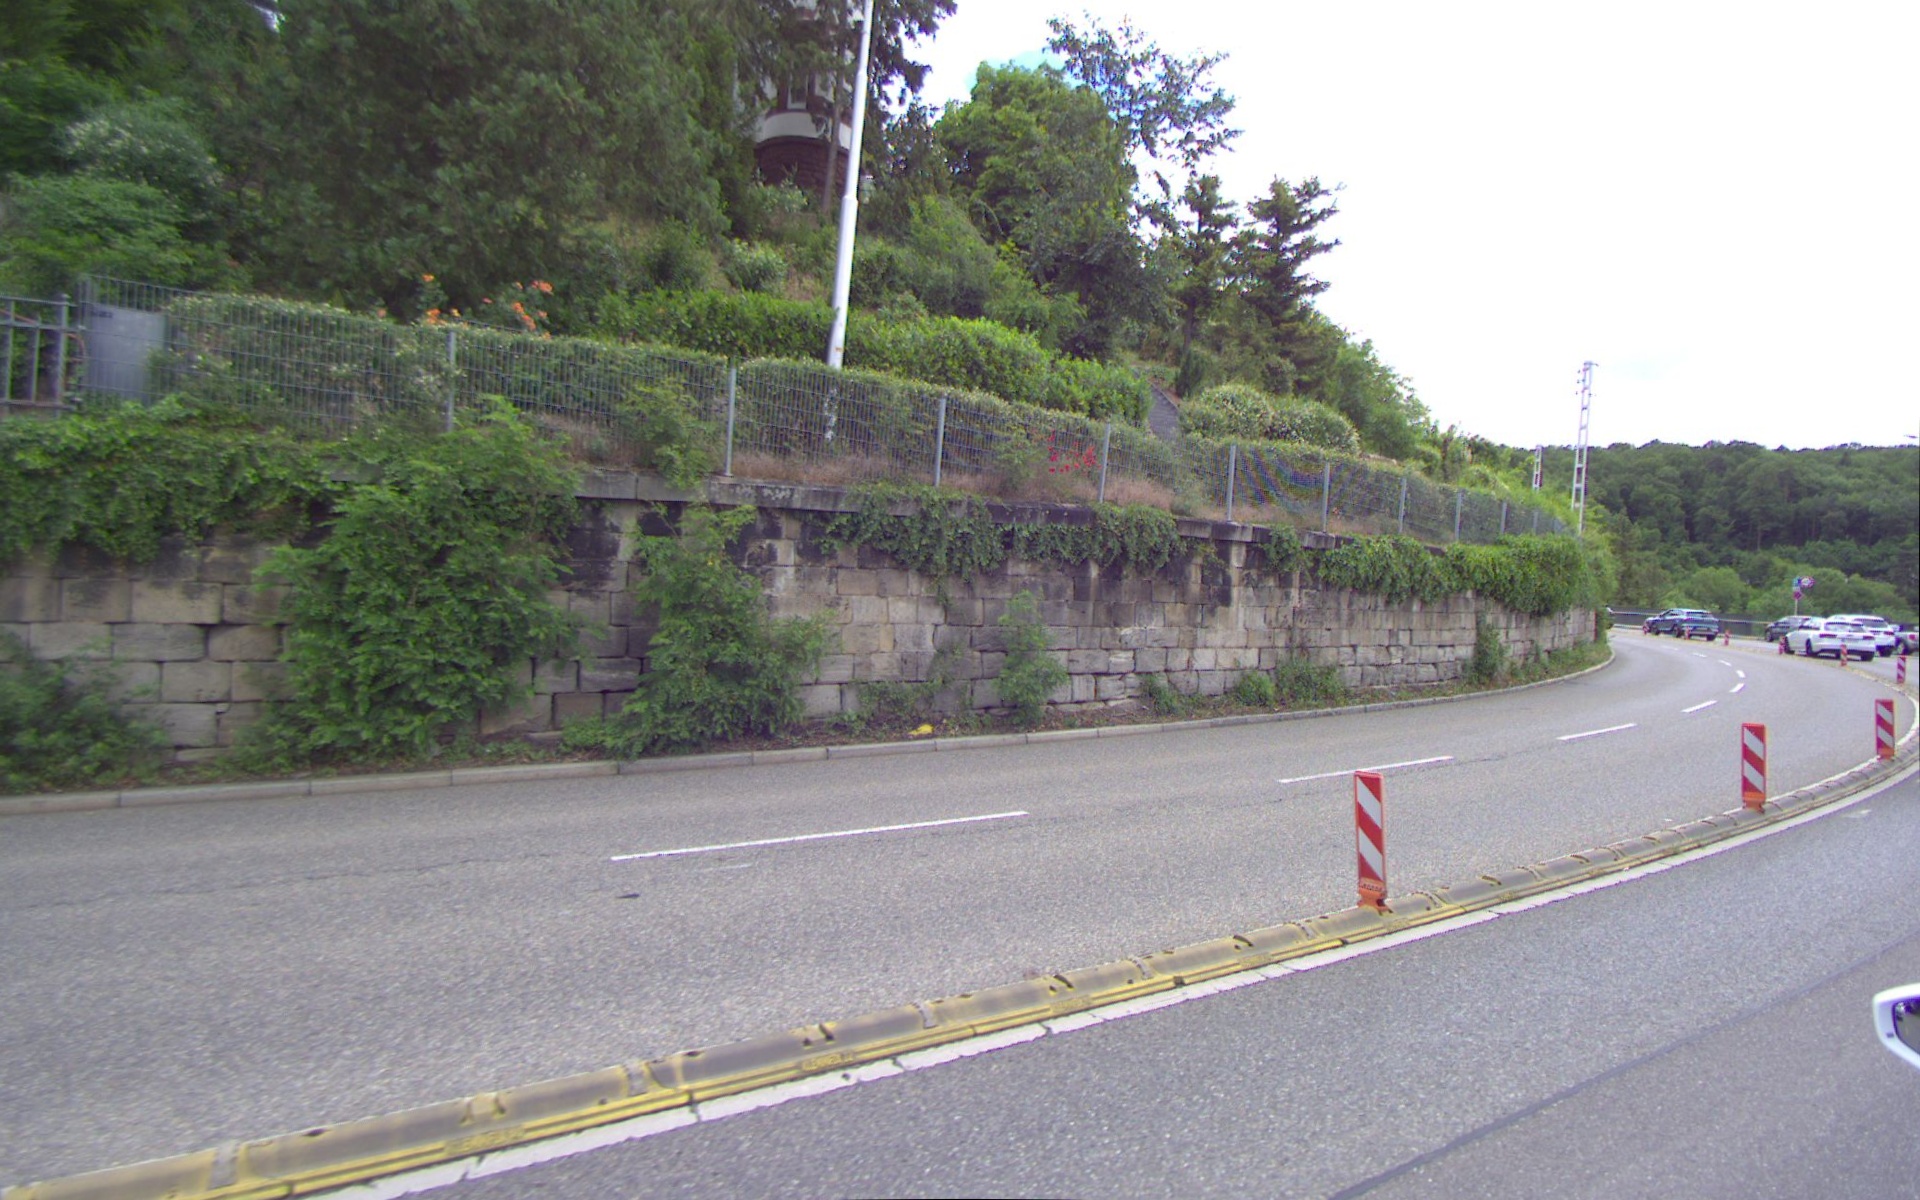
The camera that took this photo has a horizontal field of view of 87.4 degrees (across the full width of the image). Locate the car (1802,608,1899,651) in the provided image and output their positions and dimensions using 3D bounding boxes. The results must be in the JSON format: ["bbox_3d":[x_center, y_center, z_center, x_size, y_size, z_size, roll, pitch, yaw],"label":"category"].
[{"bbox_3d":[38.015,1.262,42.999,1.962,1.741,4.111,0,-1,24],"label":"car"}]

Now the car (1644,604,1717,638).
[{"bbox_3d":[38.152,1.121,53.296,1.960,1.670,4.001,0,-1,18],"label":"car"}]

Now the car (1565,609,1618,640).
[{"bbox_3d":[40.726,1.613,64.845,1.838,1.784,4.002,4,-2,17],"label":"car"}]

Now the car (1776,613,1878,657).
[{"bbox_3d":[32.981,1.310,38.357,1.964,1.523,4.660,1,-1,29],"label":"car"}]

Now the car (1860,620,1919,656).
[{"bbox_3d":[42.414,1.714,44.932,1.685,1.450,3.851,3,1,17],"label":"car"}]

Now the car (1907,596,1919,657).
[{"bbox_3d":[40.263,1.106,39.789,2.132,2.555,5.767,1,0,24],"label":"car"}]
